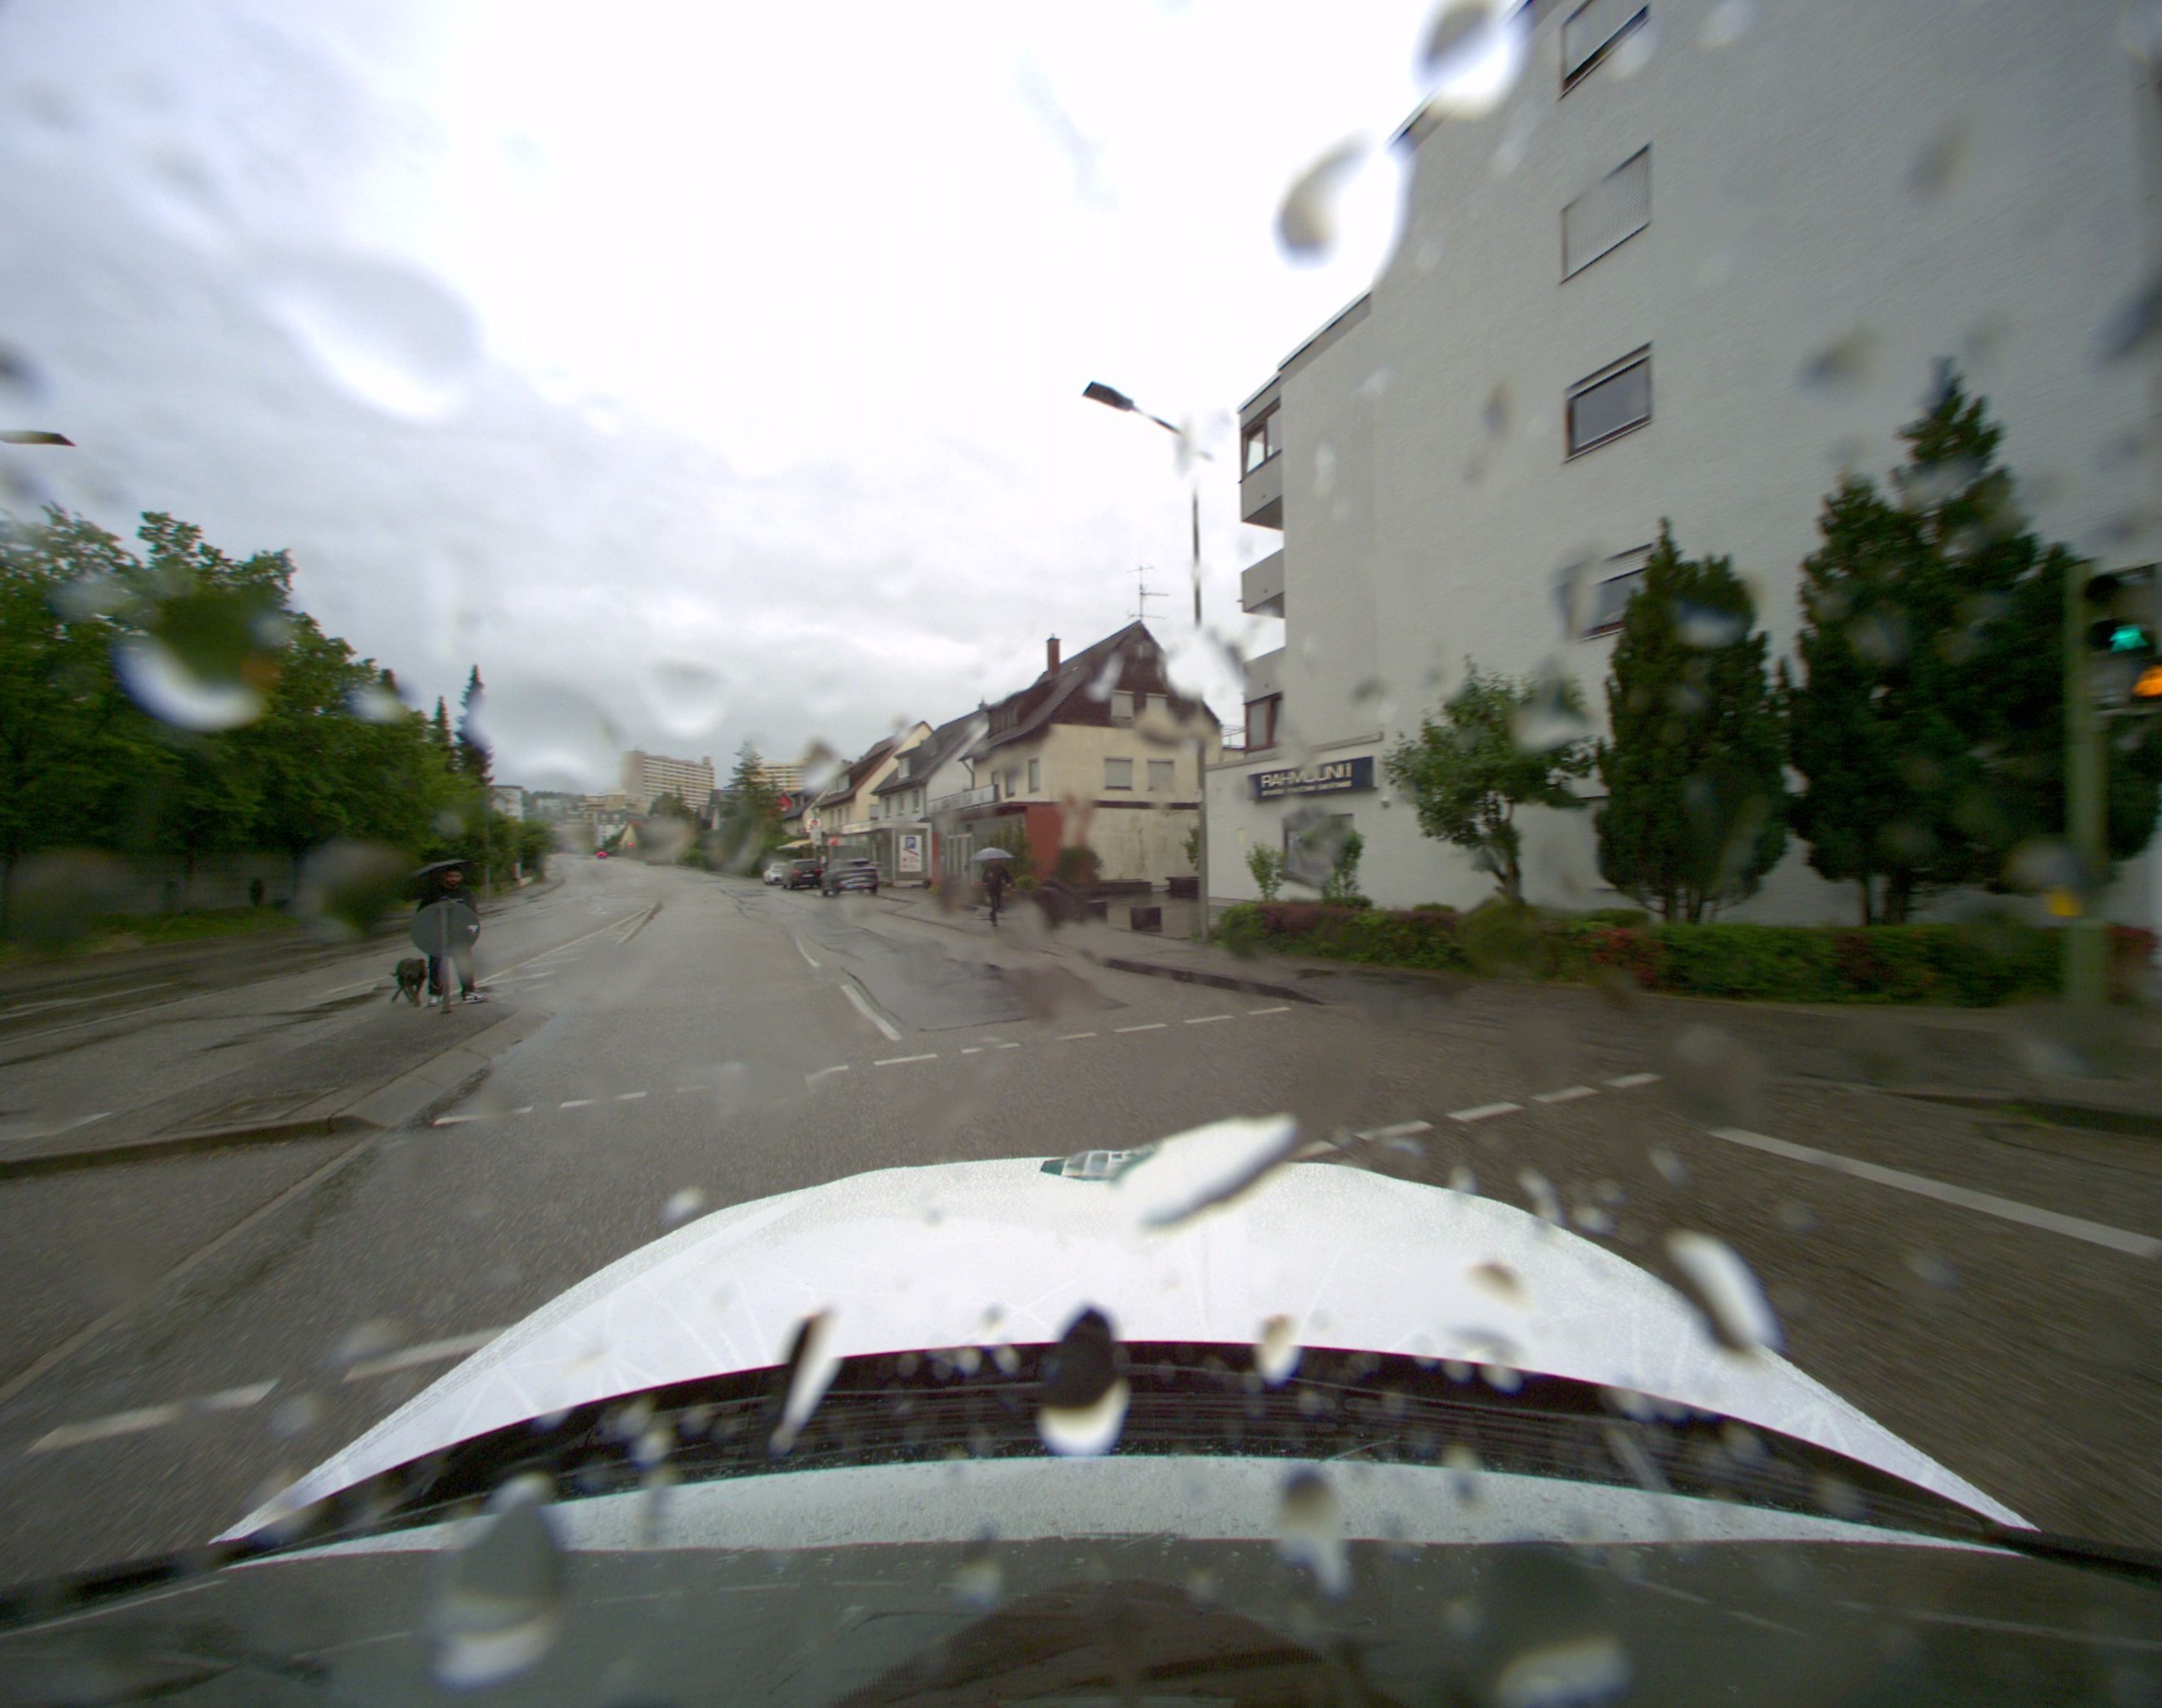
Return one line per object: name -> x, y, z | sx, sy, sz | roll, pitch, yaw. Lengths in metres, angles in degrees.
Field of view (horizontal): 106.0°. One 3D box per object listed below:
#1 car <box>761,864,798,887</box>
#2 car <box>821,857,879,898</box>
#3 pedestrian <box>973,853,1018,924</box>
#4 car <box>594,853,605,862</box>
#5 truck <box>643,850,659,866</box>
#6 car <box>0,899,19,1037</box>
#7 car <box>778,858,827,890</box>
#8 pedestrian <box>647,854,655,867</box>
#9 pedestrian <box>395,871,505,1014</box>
car -> -21.207, 1.466, 57.195 | 1.826, 1.448, 4.165 | -3, 1, -28
car -> -10.627, 1.045, 37.226 | 1.883, 1.642, 4.755 | -3, 0, -23
pedestrian -> -1.958, 0.779, 18.563 | 0.756, 1.568, 0.985 | 1, -2, -23
car -> -99.349, 0.718, 167.992 | 1.806, 1.669, 3.960 | -2, 0, -31
truck -> -65.578, 0.596, 124.234 | 2.006, 2.303, 3.962 | -1, 1, -29
car -> -12.089, 1.278, 6.934 | 1.782, 1.506, 4.074 | -4, 0, -21
car -> -16.626, 1.188, 48.494 | 2.047, 1.695, 4.920 | -3, 0, -26
pedestrian -> -63.488, 0.971, 120.219 | 0.790, 1.797, 0.831 | -1, 1, 39
pedestrian -> -7.902, 1.069, 10.244 | 0.665, 1.702, 0.945 | 0, -1, -4
